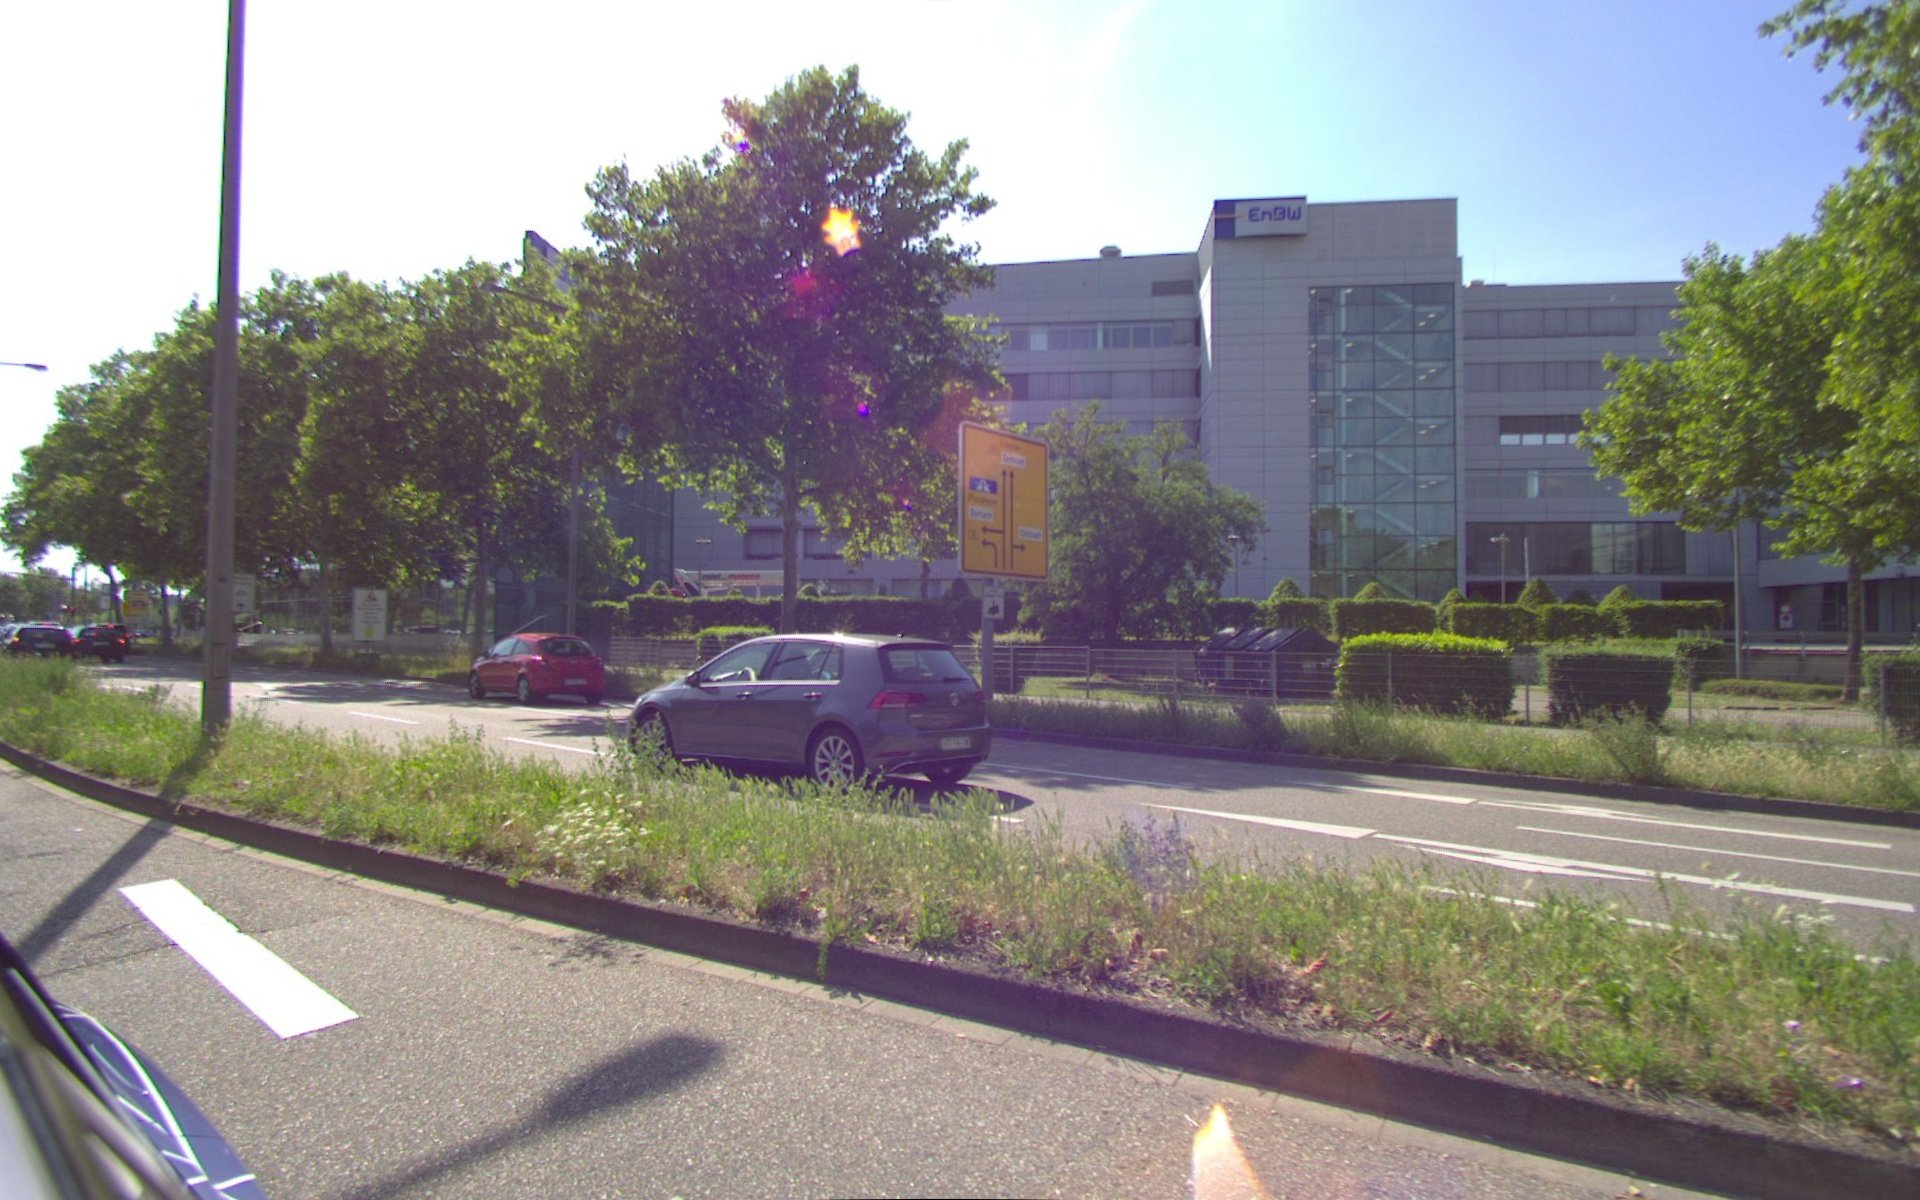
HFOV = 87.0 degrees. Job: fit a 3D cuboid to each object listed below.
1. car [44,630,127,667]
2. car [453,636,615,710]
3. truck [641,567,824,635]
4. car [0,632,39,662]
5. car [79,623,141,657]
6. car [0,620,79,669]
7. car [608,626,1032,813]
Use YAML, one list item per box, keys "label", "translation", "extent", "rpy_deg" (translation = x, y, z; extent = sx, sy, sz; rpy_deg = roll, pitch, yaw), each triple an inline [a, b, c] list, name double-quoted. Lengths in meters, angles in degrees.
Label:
- label: "car"
  translation: [-36.881, 2.018, 42.632]
  extent: [4.983, 1.479, 1.809]
  rpy_deg: [-2, -3, 40]
- label: "car"
  translation: [-9.370, 1.553, 22.135]
  extent: [4.000, 1.473, 1.744]
  rpy_deg: [-2, -4, 43]
- label: "truck"
  translation: [-11.760, 0.103, 52.688]
  extent: [8.875, 3.422, 2.669]
  rpy_deg: [0, -2, 5]
- label: "car"
  translation: [-54.765, 2.727, 58.292]
  extent: [4.493, 1.623, 1.973]
  rpy_deg: [-3, -4, 41]
- label: "car"
  translation: [-48.843, 2.332, 58.110]
  extent: [4.648, 1.849, 1.973]
  rpy_deg: [-2, -4, 41]
- label: "car"
  translation: [-30.491, 1.453, 33.107]
  extent: [4.667, 1.479, 1.754]
  rpy_deg: [-2, -4, 40]
- label: "car"
  translation: [-1.511, 1.030, 10.092]
  extent: [4.160, 1.490, 1.821]
  rpy_deg: [-2, -3, 38]
